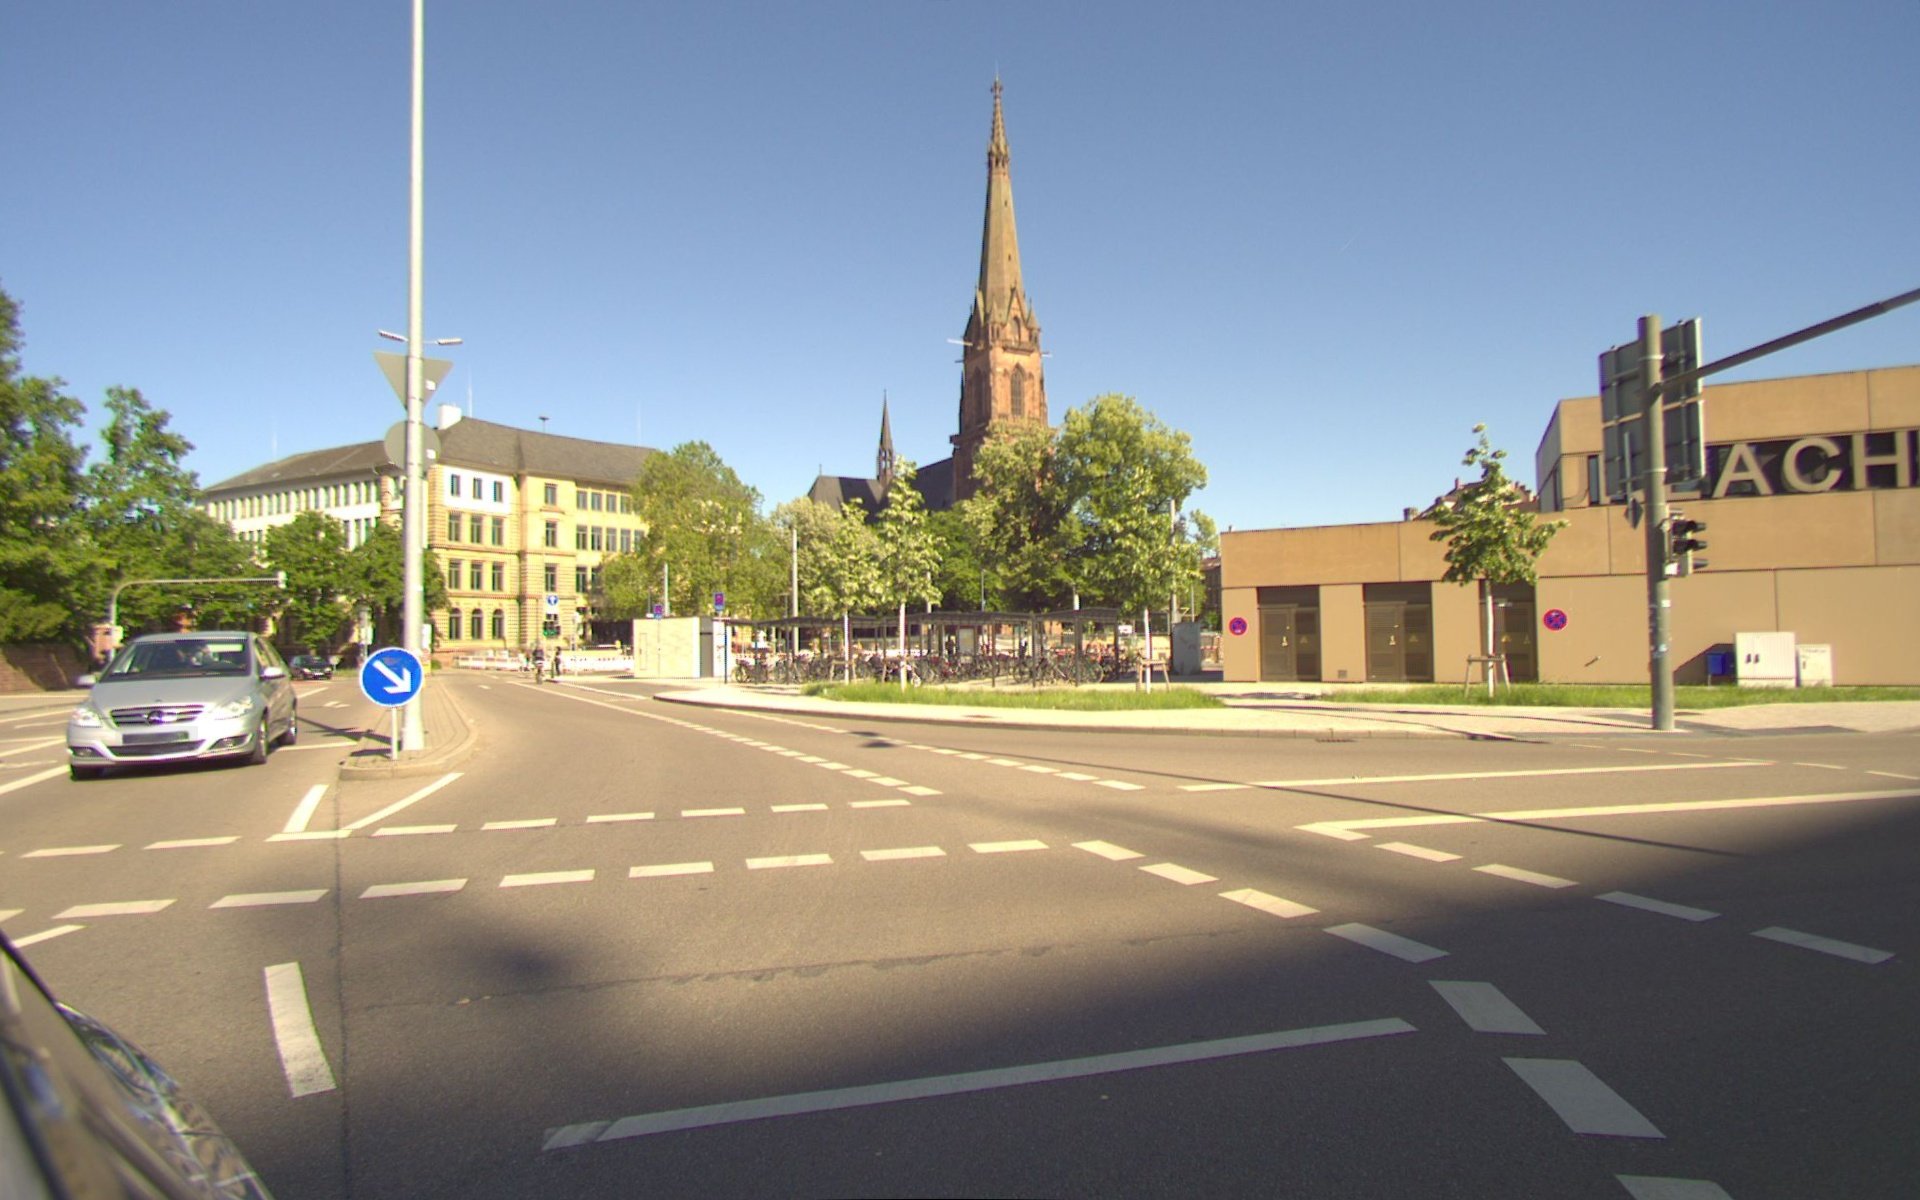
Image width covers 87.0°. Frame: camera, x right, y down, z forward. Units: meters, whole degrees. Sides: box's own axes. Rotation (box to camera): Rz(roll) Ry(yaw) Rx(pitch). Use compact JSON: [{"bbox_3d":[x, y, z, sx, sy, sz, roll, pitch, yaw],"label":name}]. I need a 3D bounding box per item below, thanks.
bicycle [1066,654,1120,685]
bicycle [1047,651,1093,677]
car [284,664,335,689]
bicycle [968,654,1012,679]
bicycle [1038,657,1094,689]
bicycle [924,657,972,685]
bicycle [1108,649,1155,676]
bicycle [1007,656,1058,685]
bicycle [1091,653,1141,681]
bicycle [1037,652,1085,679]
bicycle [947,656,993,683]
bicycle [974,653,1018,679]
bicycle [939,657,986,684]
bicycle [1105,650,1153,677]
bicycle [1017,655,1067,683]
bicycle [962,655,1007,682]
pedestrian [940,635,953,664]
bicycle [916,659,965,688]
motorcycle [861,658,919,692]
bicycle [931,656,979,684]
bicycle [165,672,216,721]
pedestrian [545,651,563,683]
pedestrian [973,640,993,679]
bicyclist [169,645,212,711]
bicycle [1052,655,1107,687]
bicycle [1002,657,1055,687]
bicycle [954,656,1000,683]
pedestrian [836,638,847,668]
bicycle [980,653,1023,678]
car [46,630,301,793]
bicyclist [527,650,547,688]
[{"bbox_3d":[4.660,2.436,35.525,1.782,1.046,0.562,-2,-4,32],"label":"bicycle"},{"bbox_3d":[4.482,2.599,41.180,1.777,1.046,0.563,-2,-4,25],"label":"bicycle"},{"bbox_3d":[-41.796,4.908,65.029,1.970,1.484,4.301,-2,-2,-44],"label":"car"},{"bbox_3d":[1.242,2.739,41.844,1.777,1.046,0.563,-2,-4,25],"label":"bicycle"},{"bbox_3d":[3.517,2.411,33.730,1.777,1.046,0.563,-2,-4,25],"label":"bicycle"},{"bbox_3d":[-0.454,2.667,38.115,1.777,1.046,0.563,-2,-4,25],"label":"bicycle"},{"bbox_3d":[6.895,2.522,40.774,1.777,1.046,0.563,-2,-4,25],"label":"bicycle"},{"bbox_3d":[2.626,2.565,36.917,1.777,1.046,0.563,-2,-4,25],"label":"bicycle"},{"bbox_3d":[5.857,2.505,37.980,1.777,1.046,0.563,-2,-4,25],"label":"bicycle"},{"bbox_3d":[3.976,2.584,39.870,1.777,1.046,0.563,-2,-4,25],"label":"bicycle"},{"bbox_3d":[0.385,2.734,39.955,1.777,1.046,0.563,-2,-4,25],"label":"bicycle"},{"bbox_3d":[1.504,2.764,42.416,1.777,1.046,0.563,-2,-4,25],"label":"bicycle"},{"bbox_3d":[0.096,2.724,39.310,1.777,1.046,0.563,-2,-4,25],"label":"bicycle"},{"bbox_3d":[6.696,2.515,40.090,1.777,1.046,0.563,-2,-4,25],"label":"bicycle"},{"bbox_3d":[3.045,2.565,37.816,1.777,1.046,0.563,-2,-4,25],"label":"bicycle"},{"bbox_3d":[0.985,2.789,41.299,1.777,1.046,0.563,-2,-4,25],"label":"bicycle"},{"bbox_3d":[-0.801,2.930,59.746,0.557,1.667,0.520,-2,-2,-28],"label":"pedestrian"},{"bbox_3d":[-0.724,2.701,37.424,1.777,1.046,0.563,-2,-4,25],"label":"bicycle"},{"bbox_3d":[-2.433,2.594,35.035,1.976,1.128,0.589,-3,-3,29],"label":"motorcycle"},{"bbox_3d":[-0.201,2.684,38.694,1.777,1.046,0.563,-2,-4,25],"label":"bicycle"},{"bbox_3d":[-20.119,2.500,26.499,0.765,1.174,1.974,-1,-3,-28],"label":"bicycle"},{"bbox_3d":[-21.789,3.585,54.311,0.777,1.694,0.650,-2,-2,-27],"label":"pedestrian"},{"bbox_3d":[1.014,2.654,45.275,0.677,1.736,0.613,-2,-3,23],"label":"pedestrian"},{"bbox_3d":[-20.144,2.026,26.509,0.772,1.675,0.779,0,-2,-28],"label":"bicyclist"},{"bbox_3d":[4.057,2.411,34.516,1.777,1.046,0.563,-2,-4,25],"label":"bicycle"},{"bbox_3d":[2.400,2.533,35.630,1.777,1.046,0.563,-2,-4,25],"label":"bicycle"},{"bbox_3d":[0.684,2.784,40.602,1.777,1.046,0.563,-2,-4,25],"label":"bicycle"},{"bbox_3d":[-7.089,3.170,60.754,0.531,1.736,0.681,-3,-7,2],"label":"pedestrian"},{"bbox_3d":[1.756,2.777,42.997,1.777,1.046,0.563,-2,-4,25],"label":"bicycle"},{"bbox_3d":[-9.604,1.260,12.756,1.741,1.606,4.653,-1,-3,-28],"label":"car"},{"bbox_3d":[-18.564,3.016,44.400,0.709,1.633,0.981,1,-4,-28],"label":"bicyclist"}]
